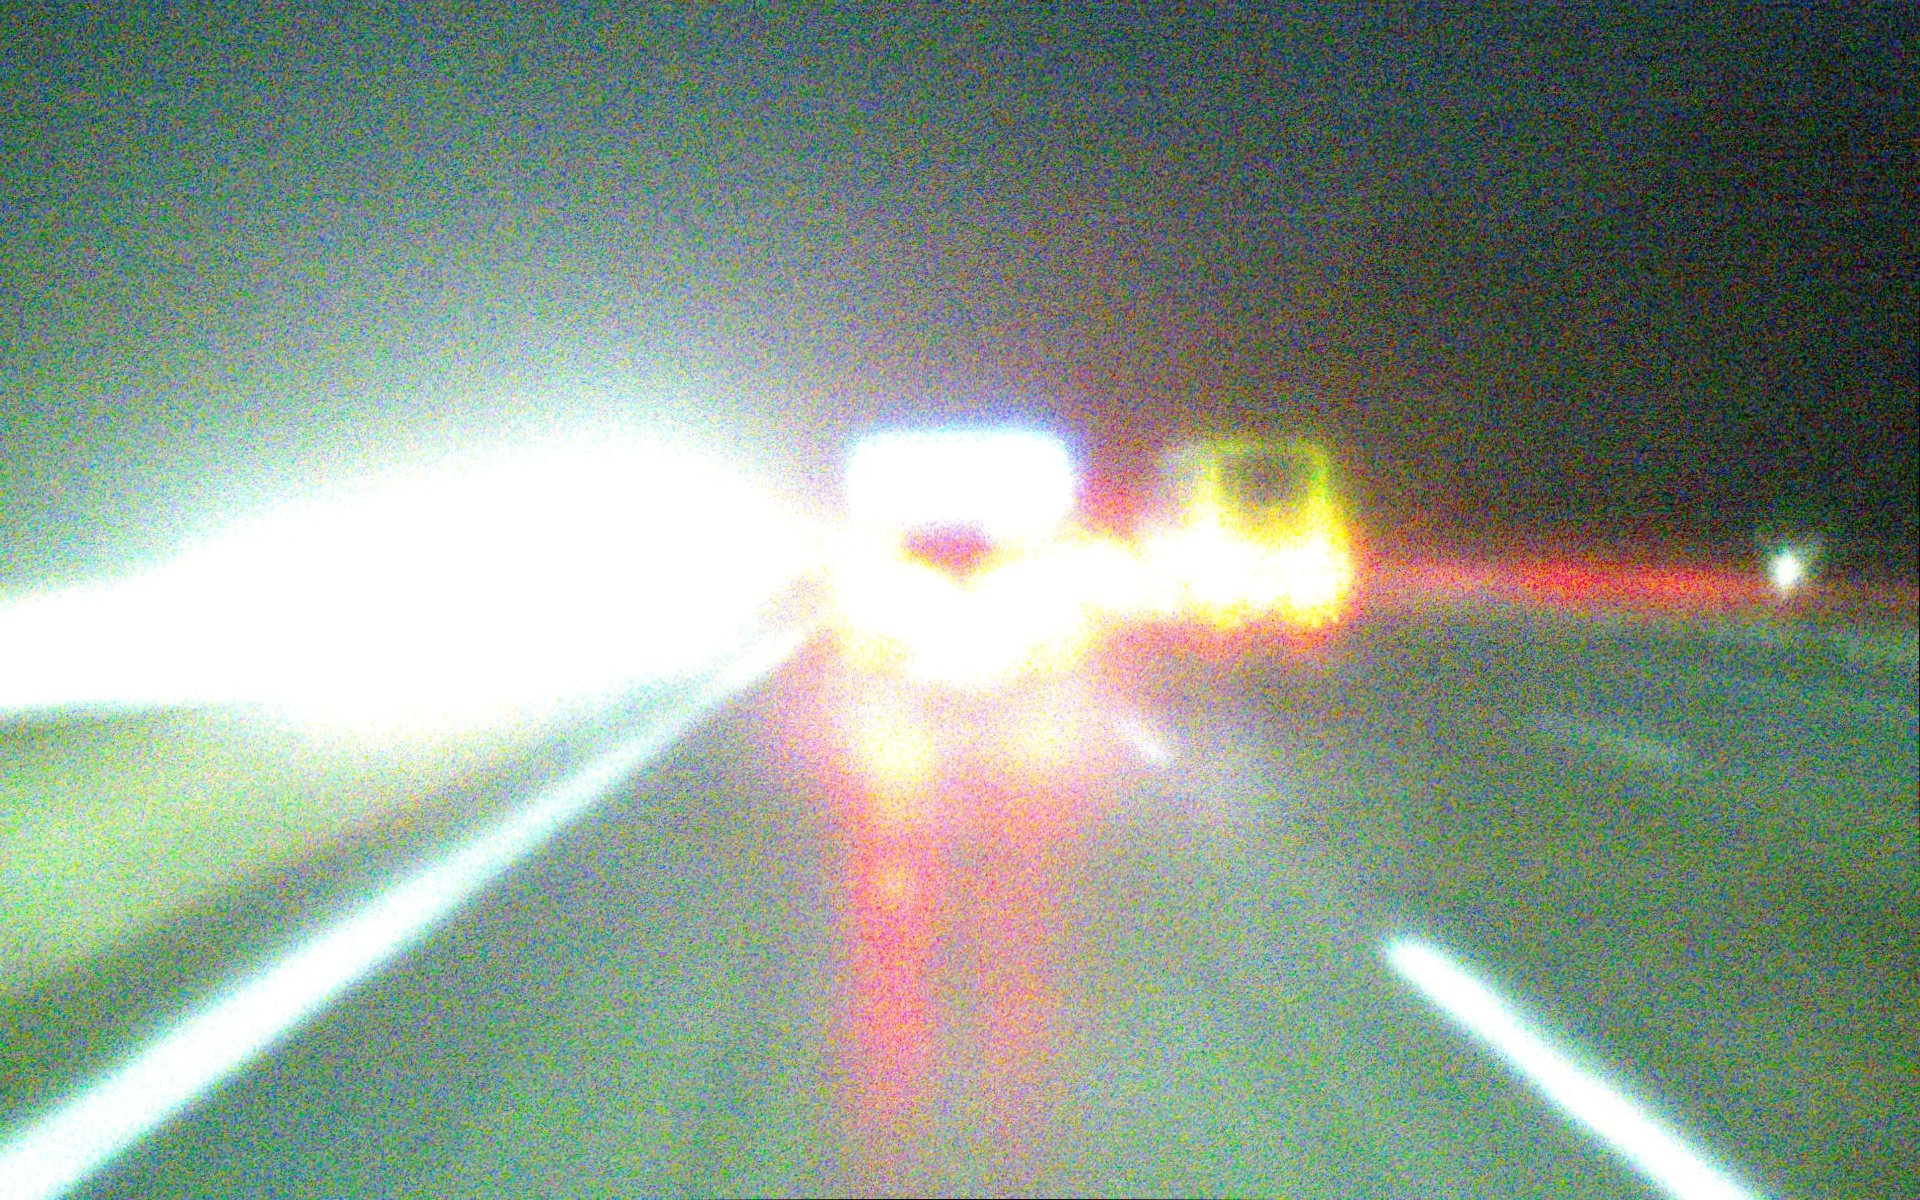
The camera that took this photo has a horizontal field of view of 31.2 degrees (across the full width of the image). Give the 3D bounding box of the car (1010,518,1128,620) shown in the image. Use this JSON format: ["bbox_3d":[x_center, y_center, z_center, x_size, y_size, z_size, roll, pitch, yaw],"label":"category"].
[{"bbox_3d":[2.237,-0.641,71.664,1.993,2.007,4.001,-2,1,-4],"label":"car"}]

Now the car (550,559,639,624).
[{"bbox_3d":[-9.990,-0.221,94.326,1.916,1.678,4.506,-2,0,0],"label":"car"}]

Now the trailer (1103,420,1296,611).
[{"bbox_3d":[5.555,-1.914,82.590,3.041,4.094,13.830,-2,1,-2],"label":"trailer"}]

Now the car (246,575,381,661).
[{"bbox_3d":[-13.445,0.362,71.714,1.916,1.678,4.506,-2,0,0],"label":"car"}]

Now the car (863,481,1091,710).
[{"bbox_3d":[0.097,-0.051,32.375,1.993,2.007,4.000,1,0,-2],"label":"car"}]

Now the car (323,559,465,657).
[{"bbox_3d":[-10.372,0.132,63.253,1.916,1.678,4.000,-2,0,0],"label":"car"}]

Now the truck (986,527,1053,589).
[{"bbox_3d":[3.303,-2.345,193.322,3.037,3.286,11.382,-2,1,-2],"label":"truck"}]

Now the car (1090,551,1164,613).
[{"bbox_3d":[5.662,-0.626,116.842,1.993,2.007,4.001,-2,1,-4],"label":"car"}]
